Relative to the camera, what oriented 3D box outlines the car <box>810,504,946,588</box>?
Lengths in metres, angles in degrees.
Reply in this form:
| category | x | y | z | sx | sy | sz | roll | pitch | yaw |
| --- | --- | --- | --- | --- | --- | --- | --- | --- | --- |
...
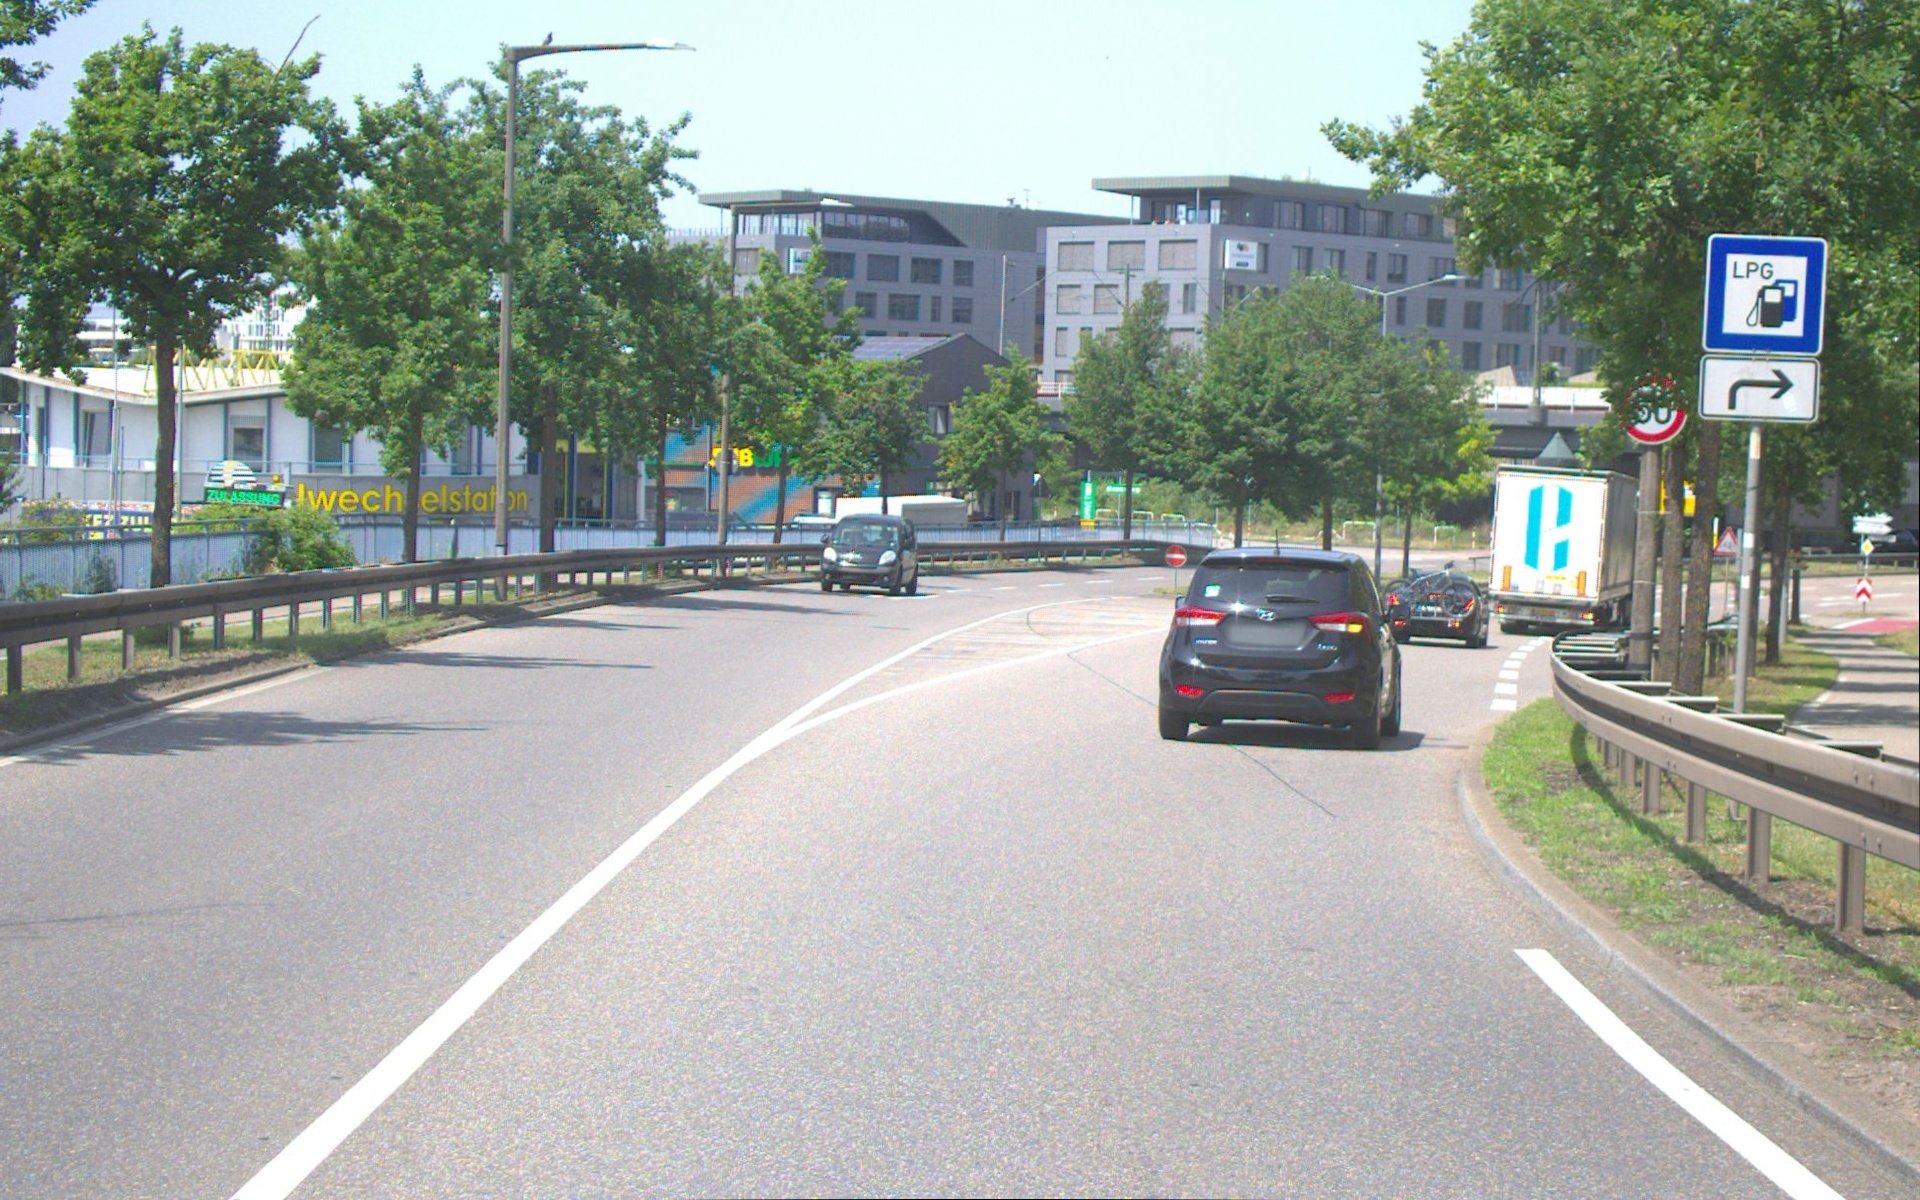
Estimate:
| category | x | y | z | sx | sy | sz | roll | pitch | yaw |
| --- | --- | --- | --- | --- | --- | --- | --- | --- | --- |
| car | -1.821 | -1.197 | 77.707 | 1.808 | 1.753 | 4.249 | 3 | 1 | 16 |

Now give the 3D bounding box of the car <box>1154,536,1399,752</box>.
| category | x | y | z | sx | sy | sz | roll | pitch | yaw |
| --- | --- | --- | --- | --- | --- | --- | --- | --- | --- |
| car | 2.721 | 0.317 | 28.850 | 1.768 | 1.593 | 4.076 | 3 | 1 | 8 |

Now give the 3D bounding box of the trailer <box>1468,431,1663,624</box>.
| category | x | y | z | sx | sy | sz | roll | pitch | yaw |
| --- | --- | --- | --- | --- | --- | --- | --- | --- | --- |
| trailer | 15.471 | -1.941 | 86.741 | 3.081 | 4.353 | 14.764 | 3 | 3 | 16 |

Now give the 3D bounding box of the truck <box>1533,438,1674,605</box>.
| category | x | y | z | sx | sy | sz | roll | pitch | yaw |
| --- | --- | --- | --- | --- | --- | --- | --- | --- | --- |
| truck | 17.772 | -2.217 | 94.663 | 3.078 | 4.353 | 6.074 | 3 | 3 | 16 |

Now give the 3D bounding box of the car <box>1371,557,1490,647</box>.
| category | x | y | z | sx | sy | sz | roll | pitch | yaw |
| --- | --- | --- | --- | --- | --- | --- | --- | --- | --- |
| car | 9.084 | 0.009 | 66.200 | 1.958 | 1.628 | 4.278 | 2 | 1 | 11 |
